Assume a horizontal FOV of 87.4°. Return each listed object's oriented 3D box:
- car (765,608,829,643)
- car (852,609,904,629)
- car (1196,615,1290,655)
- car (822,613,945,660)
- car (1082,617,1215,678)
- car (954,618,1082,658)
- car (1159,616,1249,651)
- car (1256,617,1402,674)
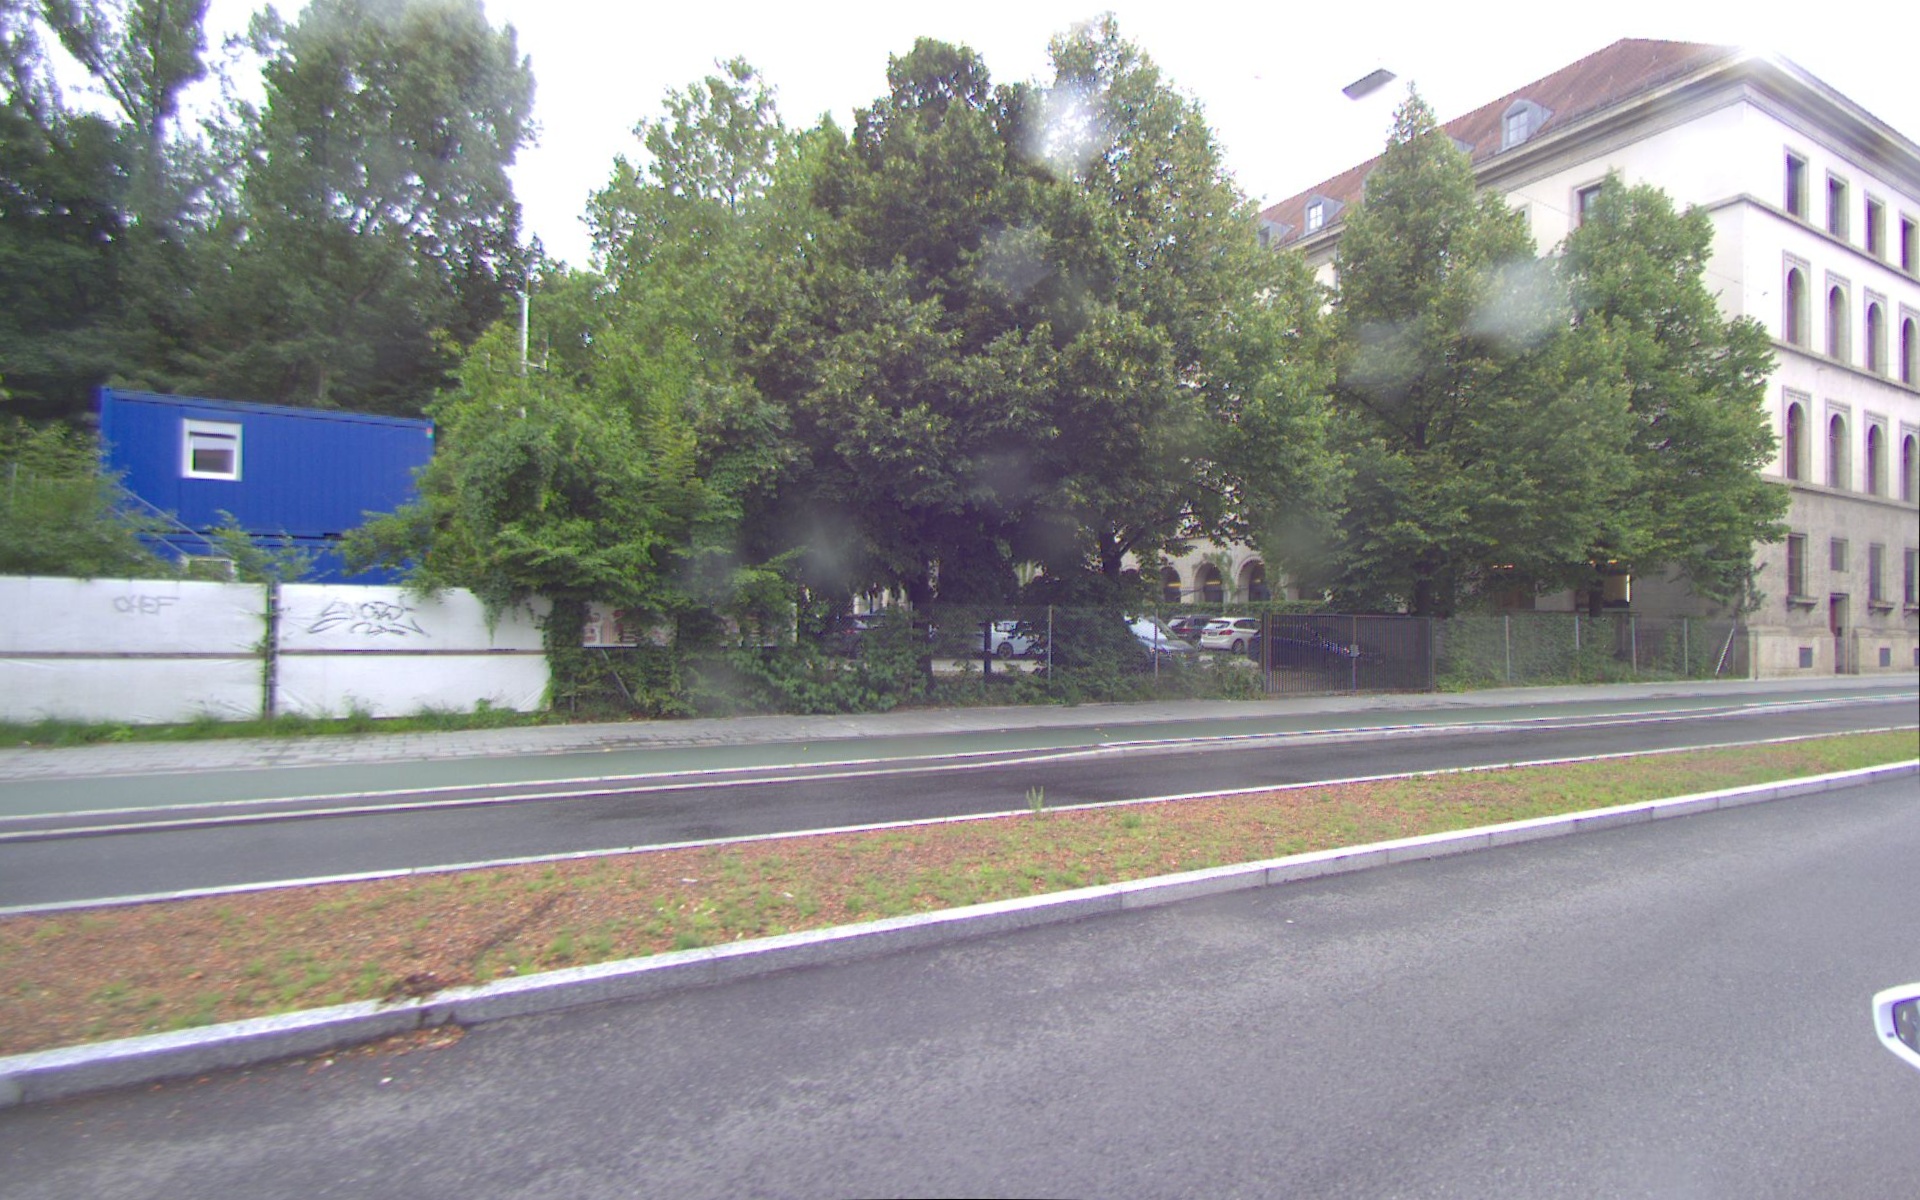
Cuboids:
[{"bbox_3d":[-8.606,1.332,52.878,1.978,1.742,3.966,1,-1,-32],"label":"car"},{"bbox_3d":[-6.750,1.583,82.982,3.953,1.564,1.762,1,-1,-30],"label":"car"},{"bbox_3d":[12.382,1.538,43.883,3.953,1.662,1.657,1,-1,-30],"label":"car"},{"bbox_3d":[-2.649,1.265,35.154,3.955,1.564,1.761,1,-1,-32],"label":"car"},{"bbox_3d":[5.259,1.308,28.557,1.778,1.610,4.138,1,-2,-22],"label":"car"},{"bbox_3d":[2.225,1.440,38.261,4.578,1.460,1.984,1,-1,-30],"label":"car"},{"bbox_3d":[11.211,1.529,46.126,3.953,1.564,1.762,1,-1,-30],"label":"car"},{"bbox_3d":[11.606,1.395,31.839,1.783,1.671,4.244,1,-2,-29],"label":"car"}]
